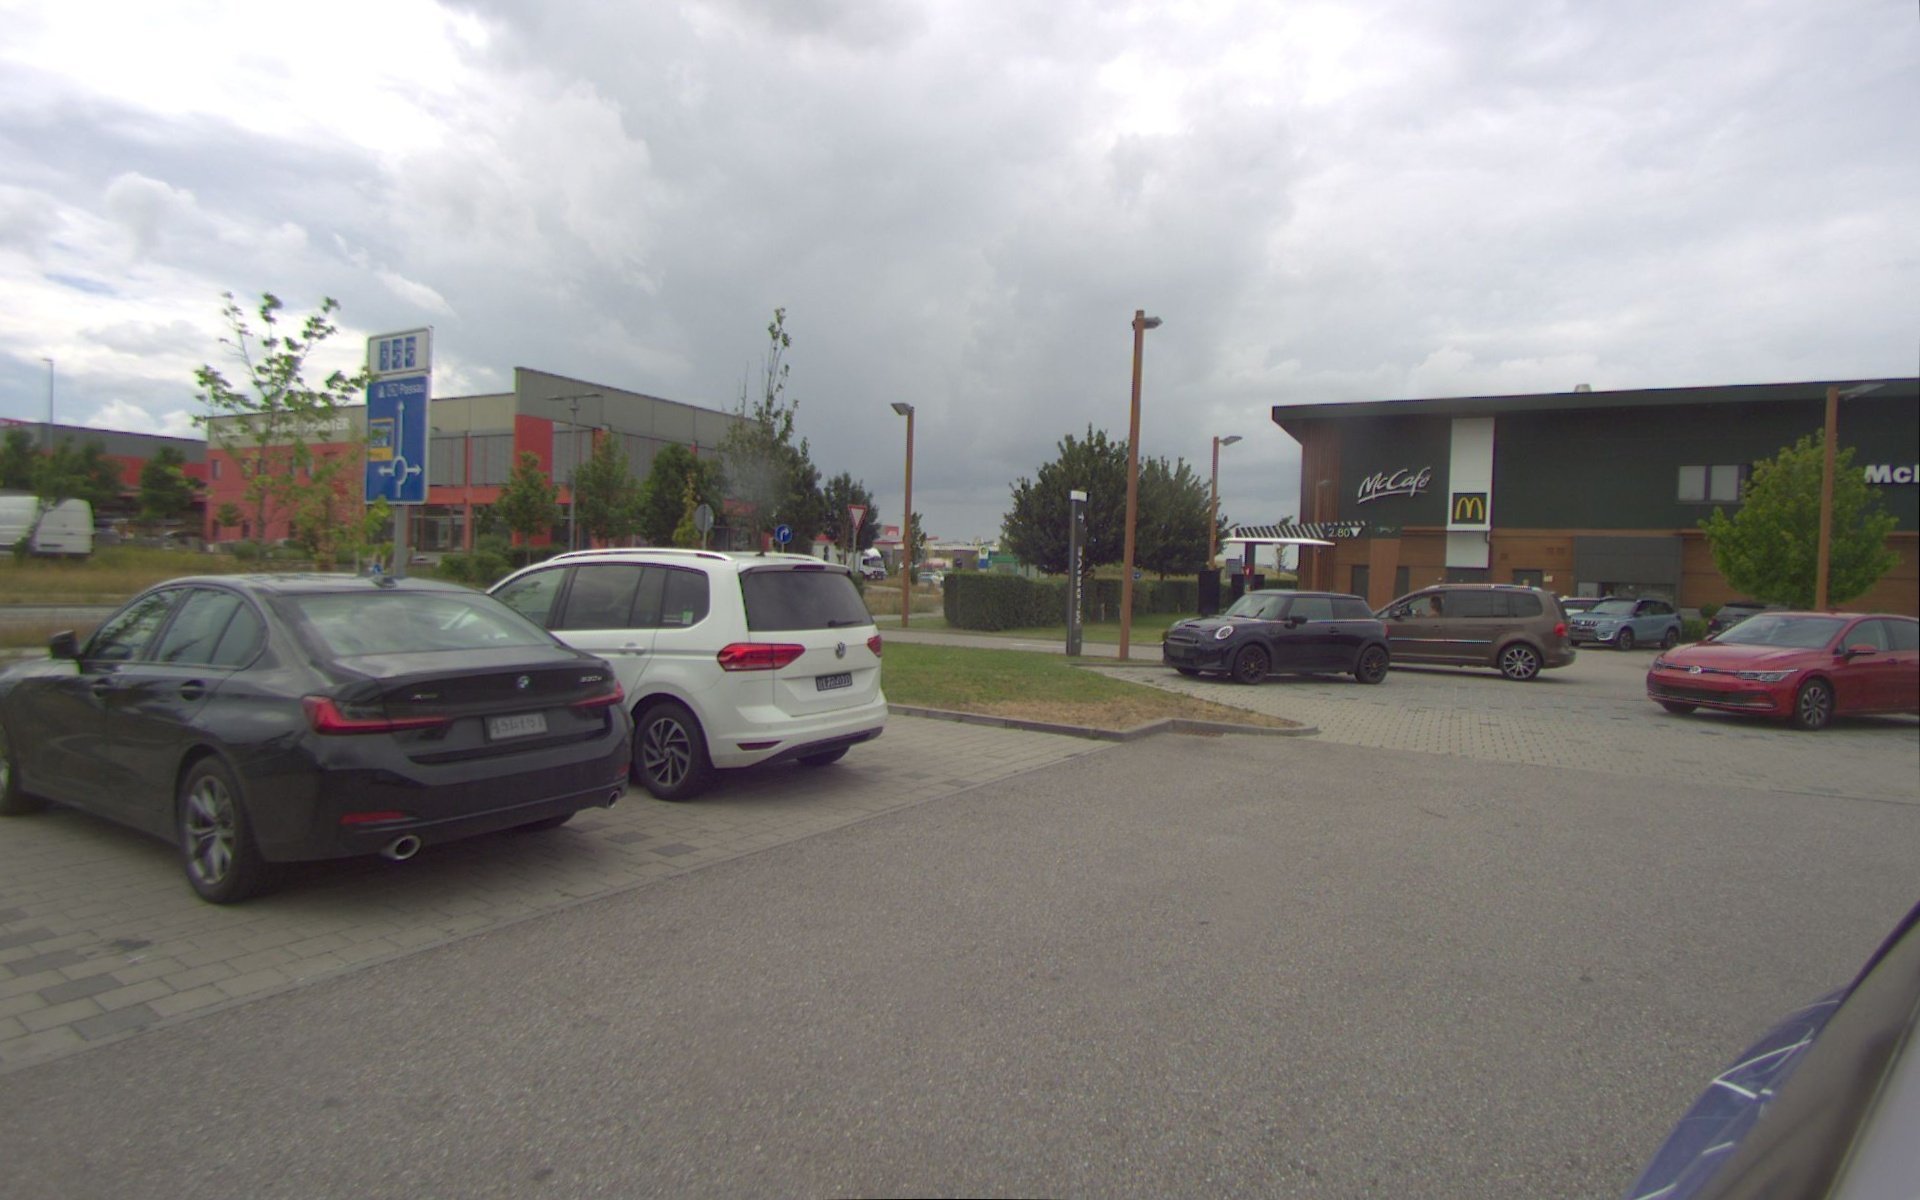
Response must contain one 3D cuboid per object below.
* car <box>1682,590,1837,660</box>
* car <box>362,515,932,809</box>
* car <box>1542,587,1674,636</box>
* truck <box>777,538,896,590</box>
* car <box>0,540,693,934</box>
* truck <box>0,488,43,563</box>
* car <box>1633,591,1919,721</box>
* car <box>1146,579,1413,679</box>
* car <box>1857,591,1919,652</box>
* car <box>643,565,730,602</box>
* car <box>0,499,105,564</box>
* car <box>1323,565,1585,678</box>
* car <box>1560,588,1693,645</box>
[{"bbox_3d":[23.574,0.728,29.849,3.917,1.771,2.004,3,2,-27],"label":"car"},{"bbox_3d":[-2.561,0.342,7.988,4.339,1.734,1.970,1,0,32],"label":"car"},{"bbox_3d":[24.506,0.400,38.436,3.962,1.524,1.772,4,3,27],"label":"car"},{"bbox_3d":[-12.417,-3.615,101.388,11.900,4.553,3.728,4,3,30],"label":"truck"},{"bbox_3d":[-3.837,0.491,5.837,4.481,1.485,1.925,1,0,32],"label":"car"},{"bbox_3d":[-52.205,-4.072,53.783,8.185,3.788,2.630,4,3,29],"label":"truck"},{"bbox_3d":[10.999,0.706,13.038,3.915,1.482,1.691,2,1,-16],"label":"car"},{"bbox_3d":[5.112,0.459,16.209,3.848,1.430,1.691,2,1,-23],"label":"car"},{"bbox_3d":[30.215,0.675,31.882,1.735,1.774,3.966,4,3,25],"label":"car"},{"bbox_3d":[-11.946,-0.753,44.456,1.642,1.477,3.892,4,3,22],"label":"car"},{"bbox_3d":[-36.304,-2.720,39.462,6.447,2.295,2.323,4,3,28],"label":"car"},{"bbox_3d":[9.205,0.304,18.977,4.162,1.710,1.789,5,3,33],"label":"car"},{"bbox_3d":[20.992,0.516,31.883,3.824,1.603,1.754,2,3,-27],"label":"car"}]
